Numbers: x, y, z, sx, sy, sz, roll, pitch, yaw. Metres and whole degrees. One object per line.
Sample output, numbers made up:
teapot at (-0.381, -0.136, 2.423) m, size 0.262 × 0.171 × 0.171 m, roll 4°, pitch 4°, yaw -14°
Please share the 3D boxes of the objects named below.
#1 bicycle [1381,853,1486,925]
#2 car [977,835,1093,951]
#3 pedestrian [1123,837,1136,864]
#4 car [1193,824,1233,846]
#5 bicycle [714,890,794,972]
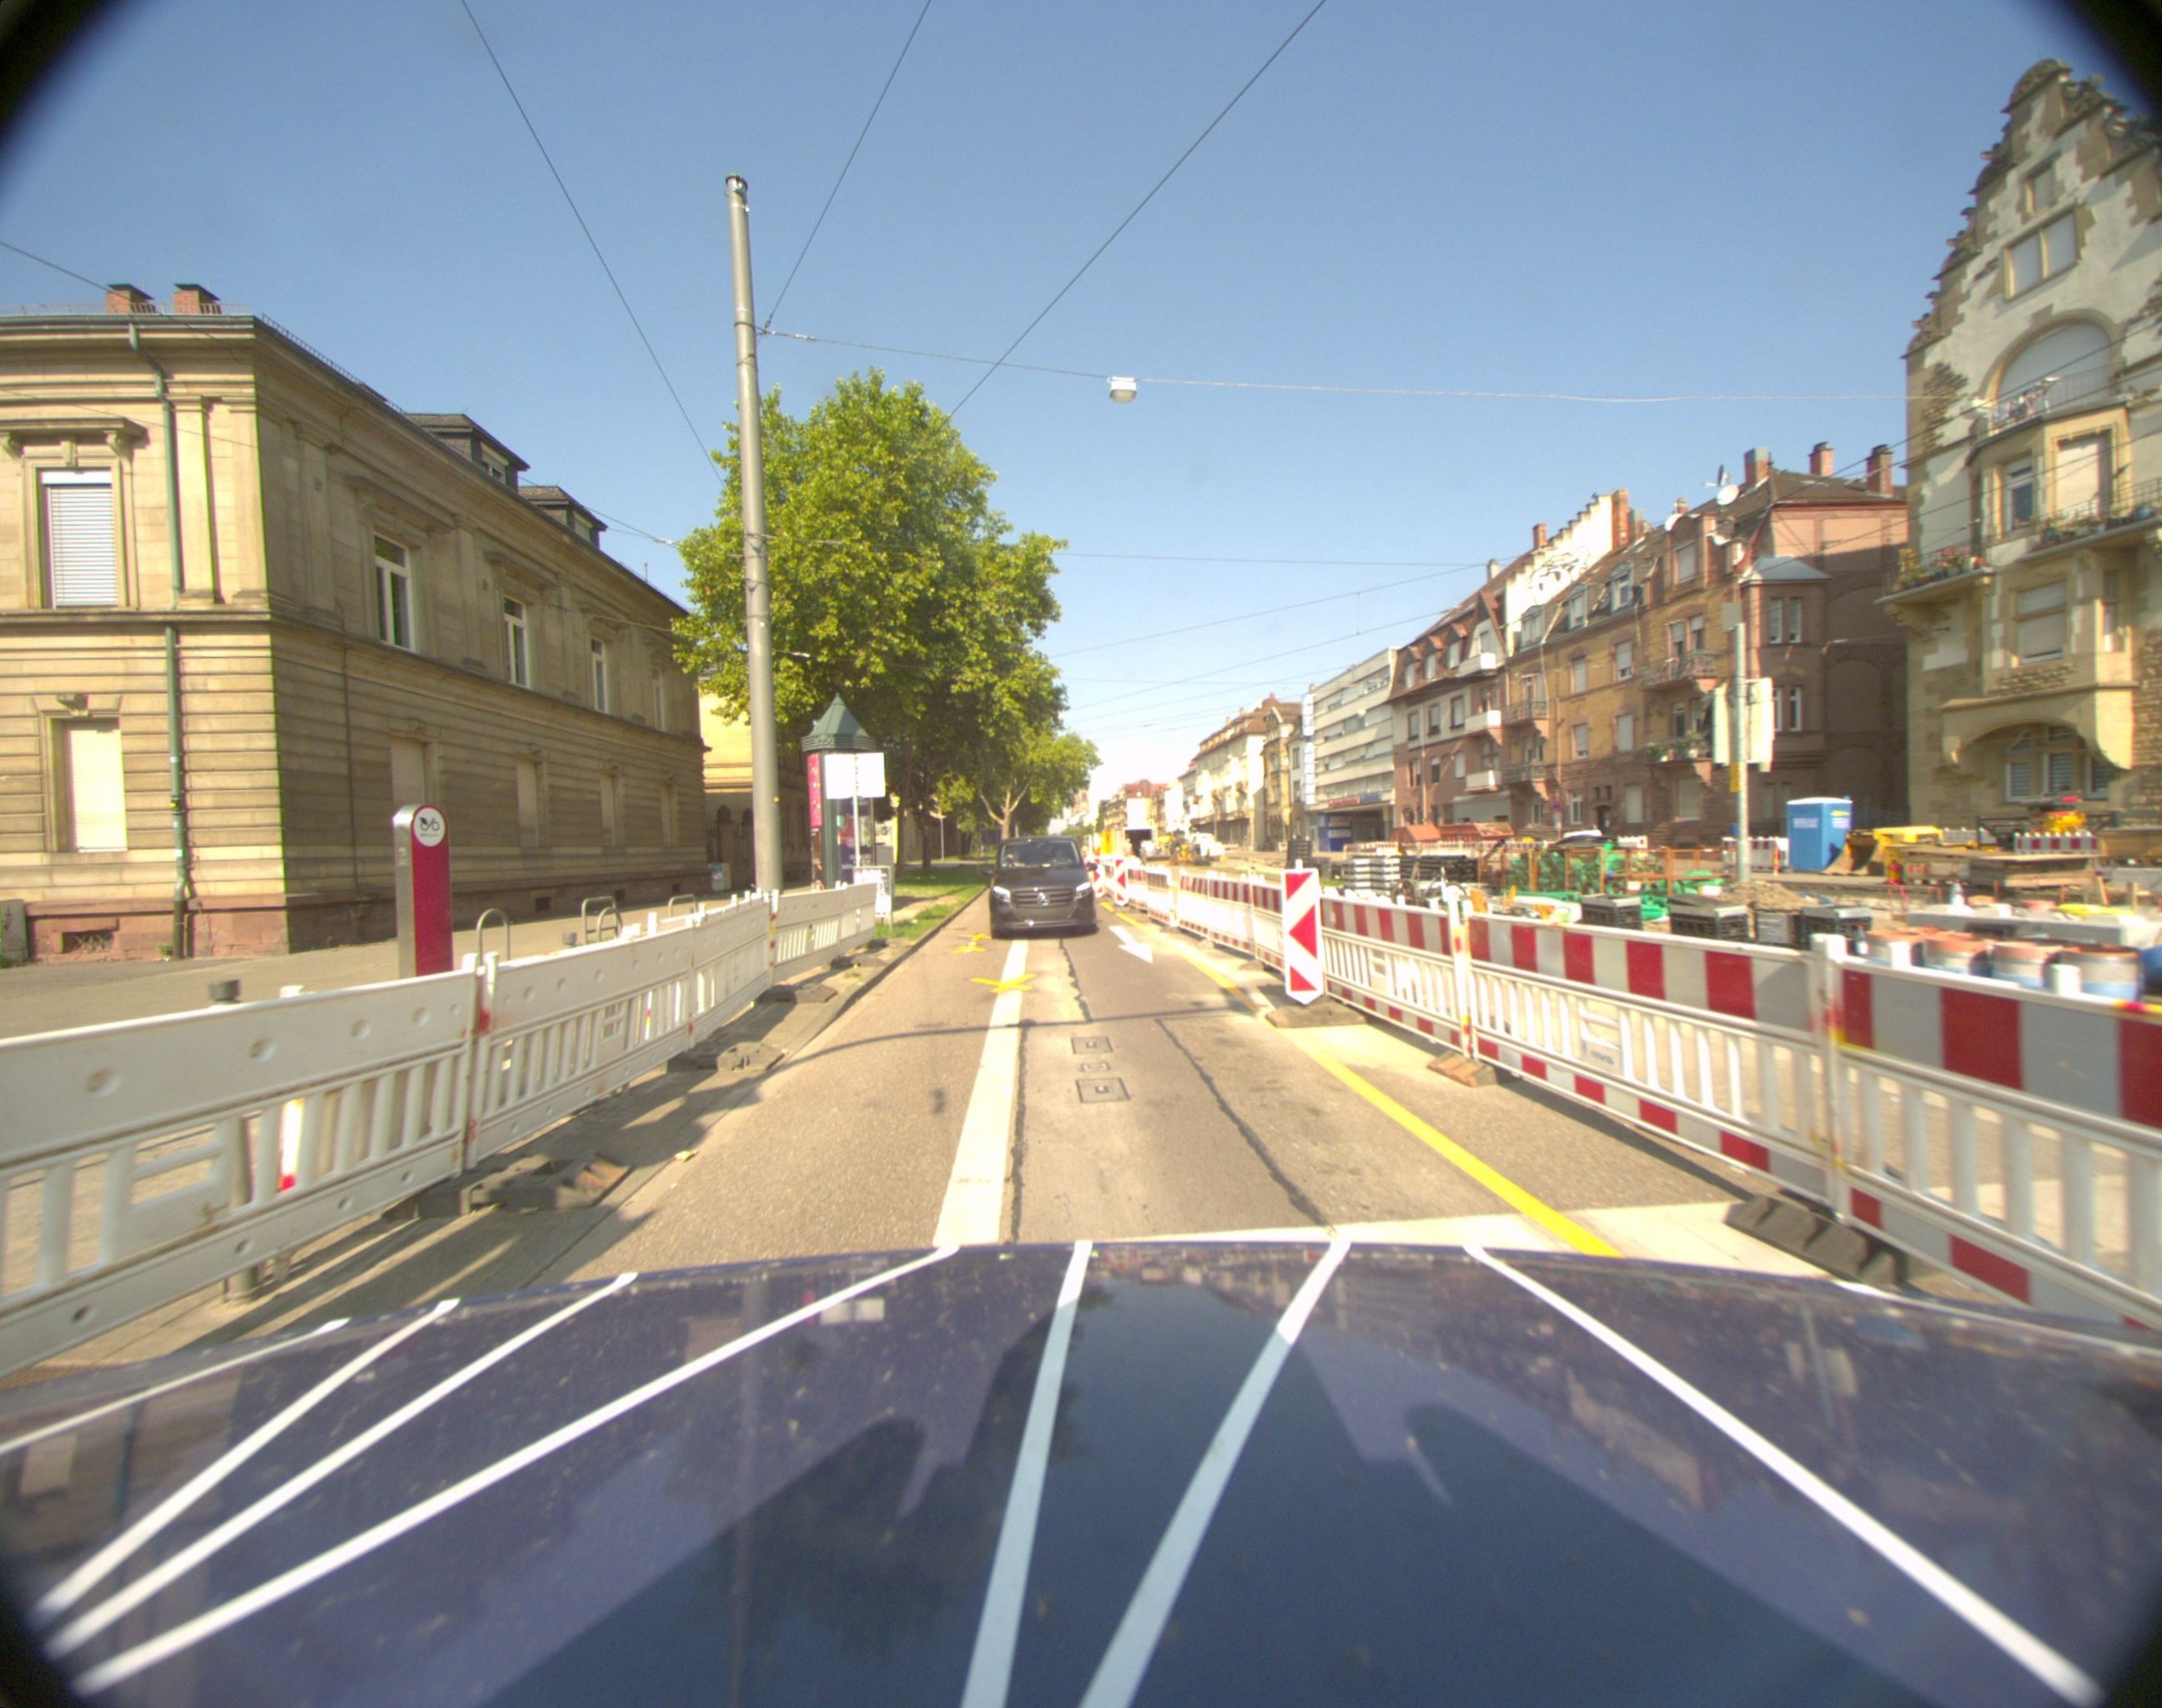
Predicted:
bicycle at (6.181, 0.576, 13.451) m, size 0.564 × 1.092 × 1.965 m, roll -4°, pitch 2°, yaw -13°
car at (-0.880, 0.619, 14.962) m, size 1.853 × 1.875 × 4.176 m, roll -3°, pitch 1°, yaw -3°
pedestrian at (3.344, -0.245, 52.260) m, size 0.803 × 1.787 × 0.596 m, roll 0°, pitch 2°, yaw 13°
car at (13.370, -1.913, 77.232) m, size 2.367 × 2.123 × 7.117 m, roll -2°, pitch 1°, yaw -4°
bicycle at (-4.715, 1.075, 11.053) m, size 0.540 × 1.001 × 1.570 m, roll -1°, pitch 1°, yaw -3°
